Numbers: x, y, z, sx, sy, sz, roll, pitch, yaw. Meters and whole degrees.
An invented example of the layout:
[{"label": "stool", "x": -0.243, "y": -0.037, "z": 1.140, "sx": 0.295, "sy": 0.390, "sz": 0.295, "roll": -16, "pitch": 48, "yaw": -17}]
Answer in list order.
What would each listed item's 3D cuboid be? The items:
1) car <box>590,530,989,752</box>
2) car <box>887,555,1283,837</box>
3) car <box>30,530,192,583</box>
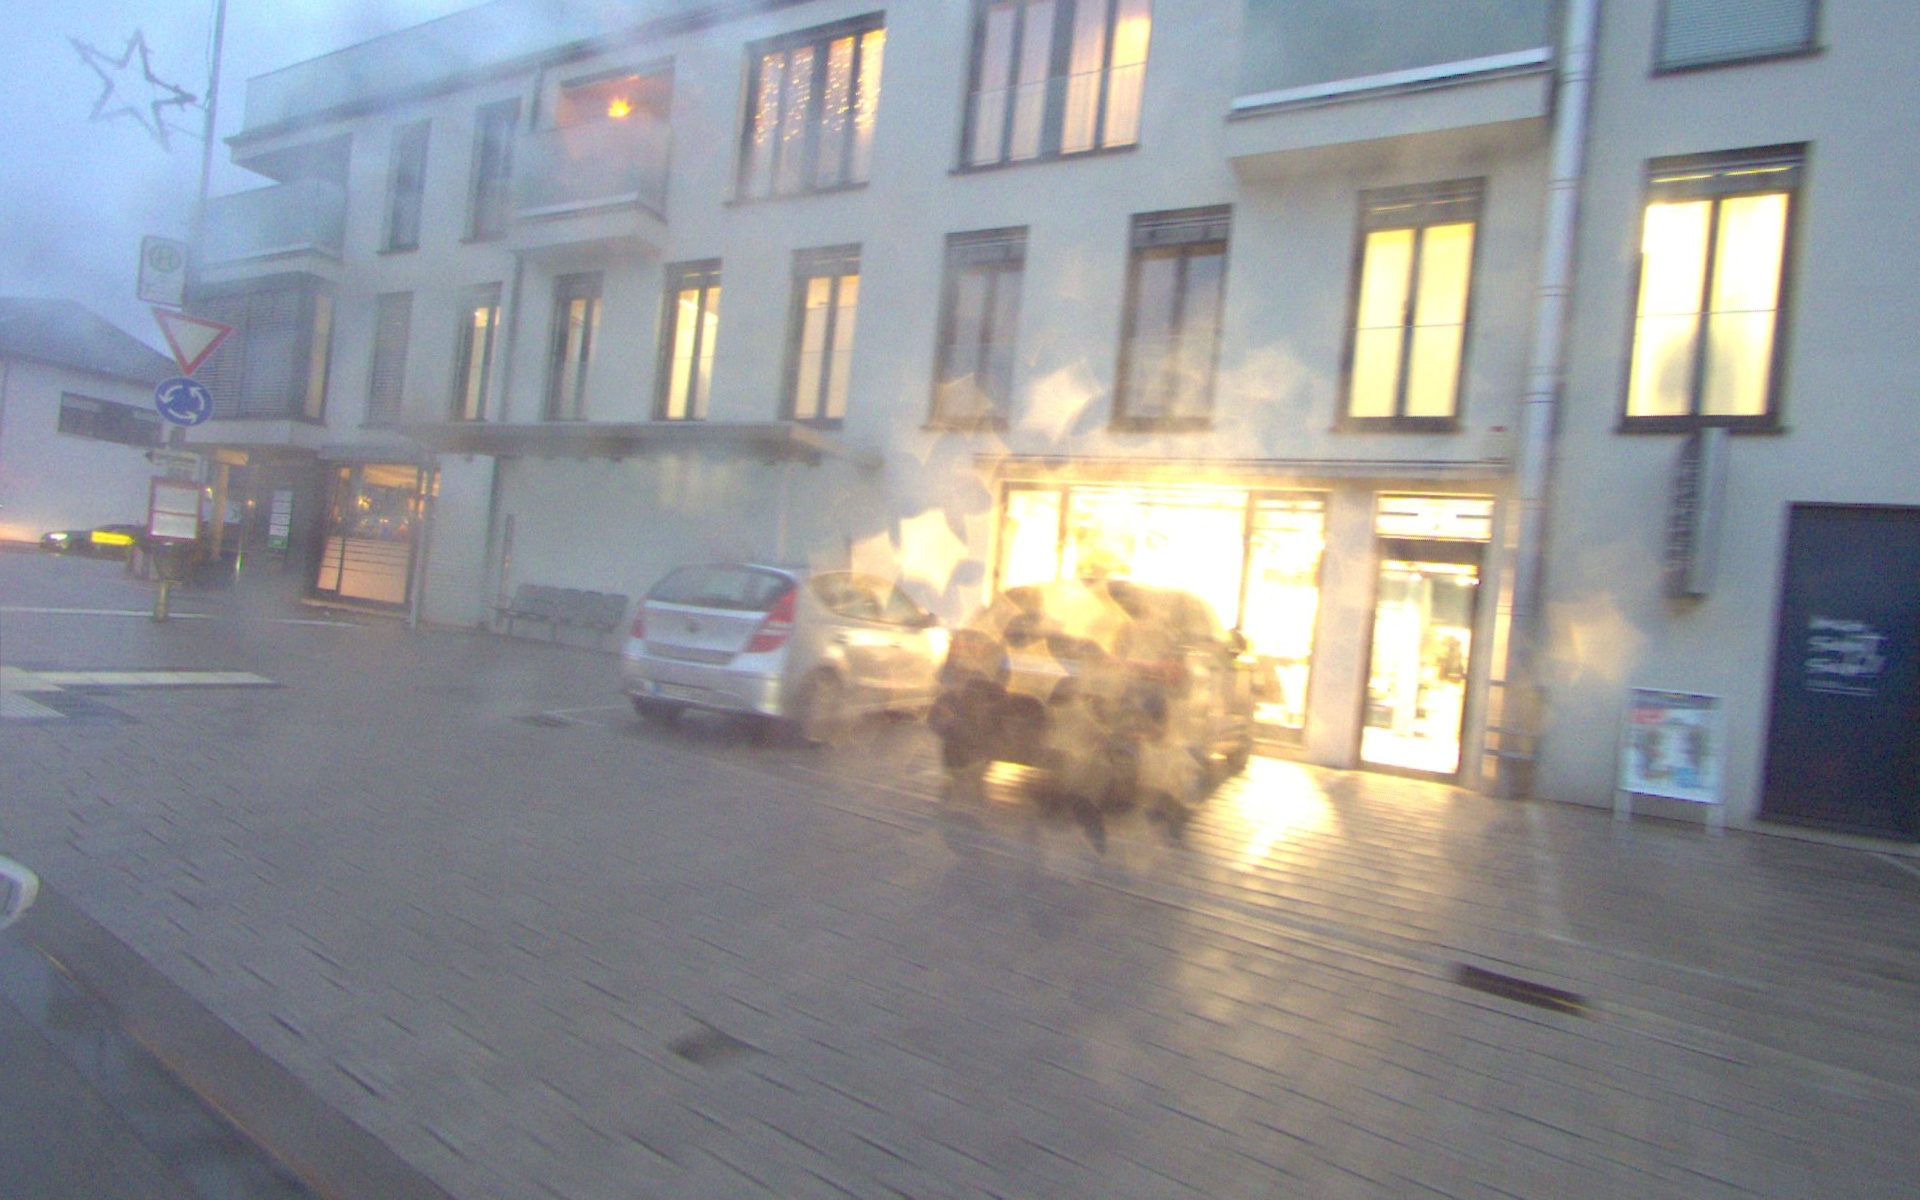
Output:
[{"label": "car", "x": -1.297, "y": 0.337, "z": 9.414, "sx": 1.780, "sy": 1.522, "sz": 3.997, "roll": 4, "pitch": 0, "yaw": 22}, {"label": "car", "x": 1.347, "y": 0.591, "z": 8.177, "sx": 1.939, "sy": 1.511, "sz": 4.517, "roll": 4, "pitch": 0, "yaw": 23}, {"label": "car", "x": -31.876, "y": -1.607, "z": 37.899, "sx": 1.820, "sy": 1.399, "sz": 4.231, "roll": 3, "pitch": -4, "yaw": 30}]
